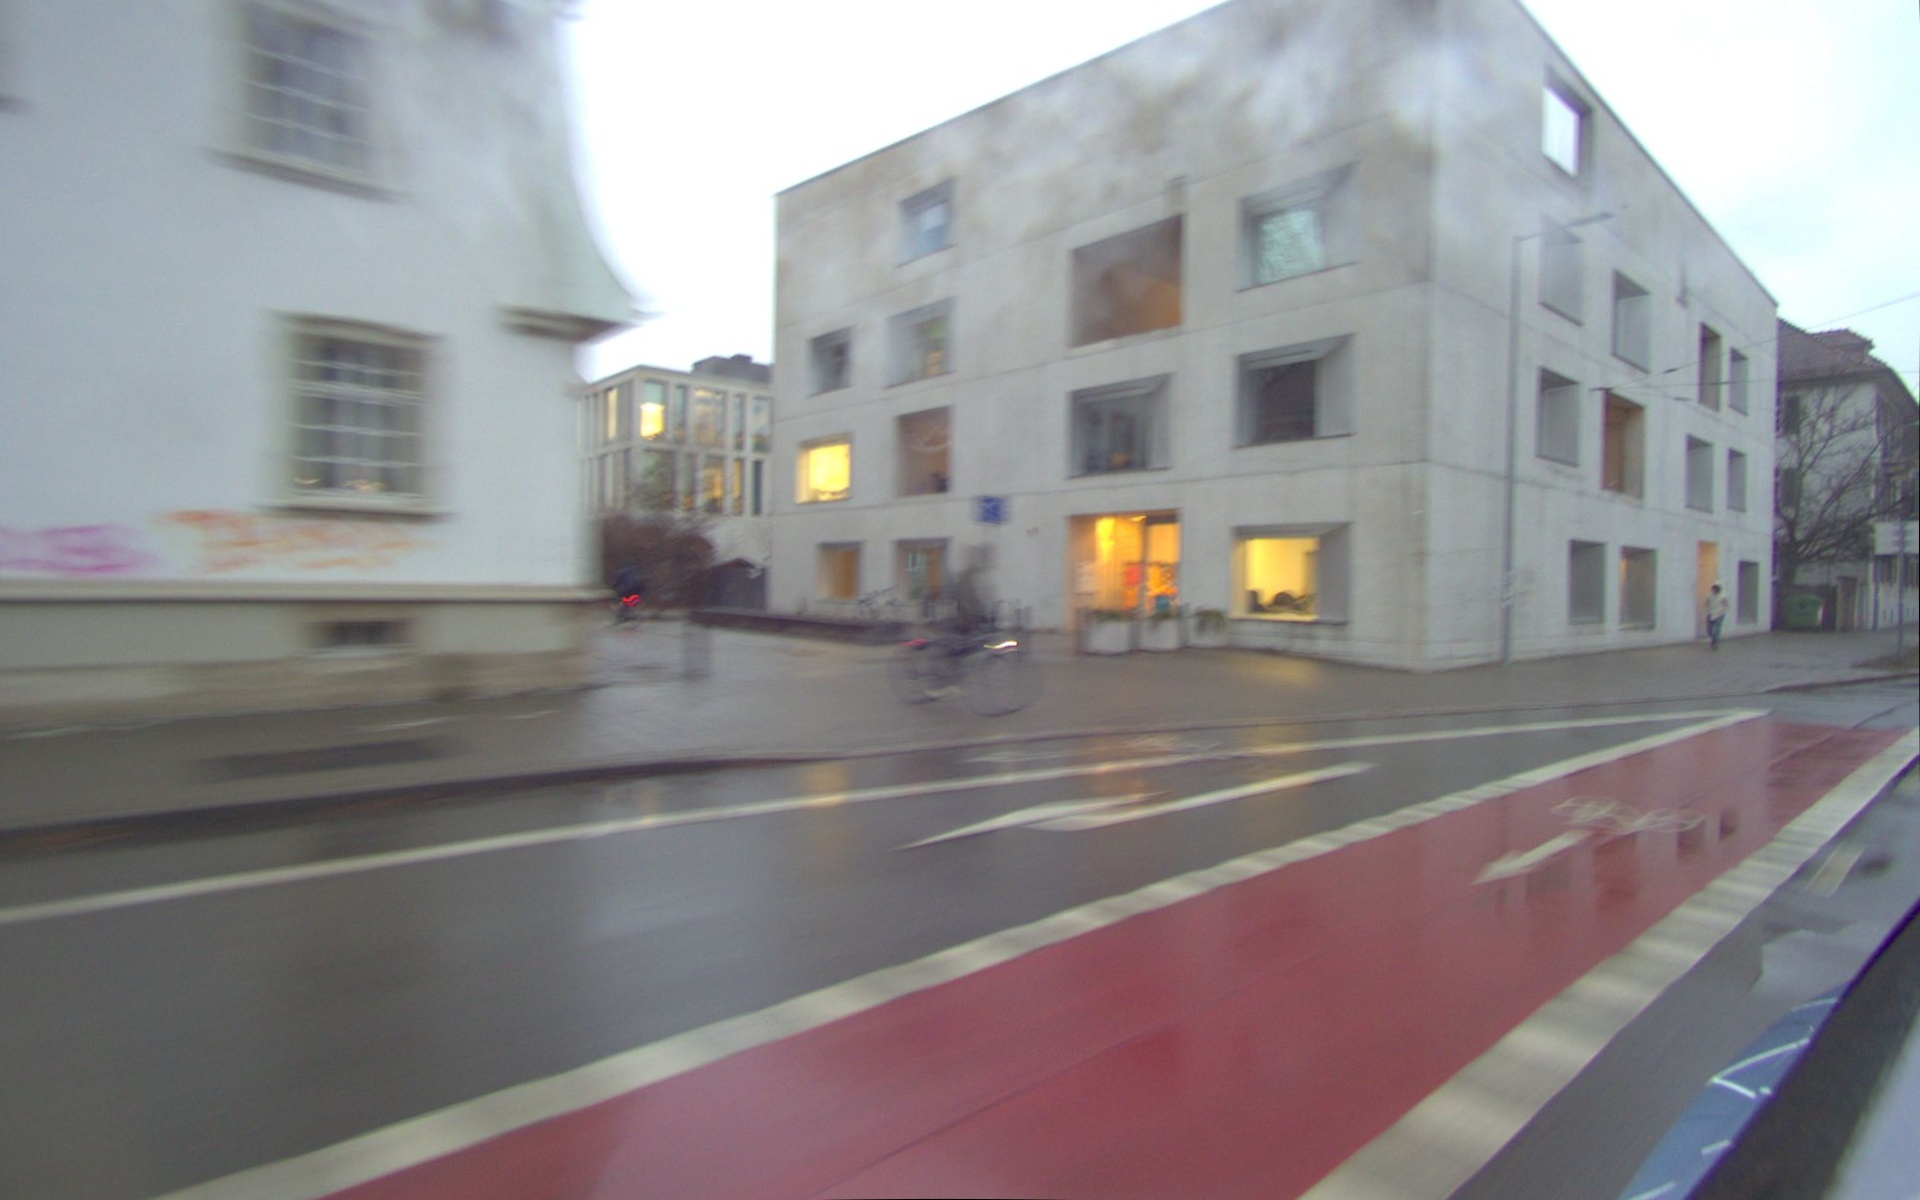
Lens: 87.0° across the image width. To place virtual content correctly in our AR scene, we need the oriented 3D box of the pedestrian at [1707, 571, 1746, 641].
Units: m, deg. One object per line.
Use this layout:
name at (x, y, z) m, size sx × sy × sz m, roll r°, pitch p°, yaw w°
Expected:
pedestrian at (20.854, 0.148, 27.525) m, size 0.648 × 1.882 × 0.657 m, roll 0°, pitch 2°, yaw -39°

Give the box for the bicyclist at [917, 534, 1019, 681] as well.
bicyclist at (0.083, 0.061, 11.817) m, size 0.766 × 1.614 × 0.857 m, roll 0°, pitch 4°, yaw -36°

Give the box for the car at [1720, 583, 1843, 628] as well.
car at (31.859, 0.221, 39.307) m, size 1.702 × 1.668 × 3.455 m, roll 0°, pitch -1°, yaw -41°

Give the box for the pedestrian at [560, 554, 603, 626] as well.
pedestrian at (-9.256, -0.251, 24.752) m, size 0.734 × 1.705 × 0.779 m, roll 1°, pitch 1°, yaw -40°

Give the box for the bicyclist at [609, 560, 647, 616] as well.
bicyclist at (-8.592, -0.308, 26.183) m, size 0.723 × 1.428 × 0.861 m, roll 0°, pitch -1°, yaw -35°

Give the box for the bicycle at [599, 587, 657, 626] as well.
bicycle at (-8.532, 0.179, 25.962) m, size 0.887 × 0.958 × 2.019 m, roll 0°, pitch -1°, yaw -35°

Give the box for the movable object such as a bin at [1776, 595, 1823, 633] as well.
movable object such as a bin at (33.561, 0.540, 40.461) m, size 1.395 × 1.464 × 1.257 m, roll 0°, pitch 2°, yaw -43°

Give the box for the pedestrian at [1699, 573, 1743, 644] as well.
pedestrian at (20.749, 0.217, 27.595) m, size 0.705 × 1.881 × 0.773 m, roll 0°, pitch 2°, yaw -39°

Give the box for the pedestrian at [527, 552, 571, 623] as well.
pedestrian at (-9.858, -0.314, 24.270) m, size 0.734 × 1.664 × 0.779 m, roll 1°, pitch 1°, yaw -40°

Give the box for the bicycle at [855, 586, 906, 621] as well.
bicycle at (-2.304, 0.092, 29.482) m, size 1.526 × 0.992 × 0.408 m, roll -1°, pitch 1°, yaw -38°

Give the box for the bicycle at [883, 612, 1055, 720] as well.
bicycle at (0.058, 0.727, 12.049) m, size 0.927 × 0.955 × 2.123 m, roll 0°, pitch 5°, yaw -37°

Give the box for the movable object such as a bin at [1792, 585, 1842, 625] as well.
movable object such as a bin at (32.482, 0.180, 38.358) m, size 1.394 × 1.464 × 1.258 m, roll 0°, pitch 1°, yaw -41°
